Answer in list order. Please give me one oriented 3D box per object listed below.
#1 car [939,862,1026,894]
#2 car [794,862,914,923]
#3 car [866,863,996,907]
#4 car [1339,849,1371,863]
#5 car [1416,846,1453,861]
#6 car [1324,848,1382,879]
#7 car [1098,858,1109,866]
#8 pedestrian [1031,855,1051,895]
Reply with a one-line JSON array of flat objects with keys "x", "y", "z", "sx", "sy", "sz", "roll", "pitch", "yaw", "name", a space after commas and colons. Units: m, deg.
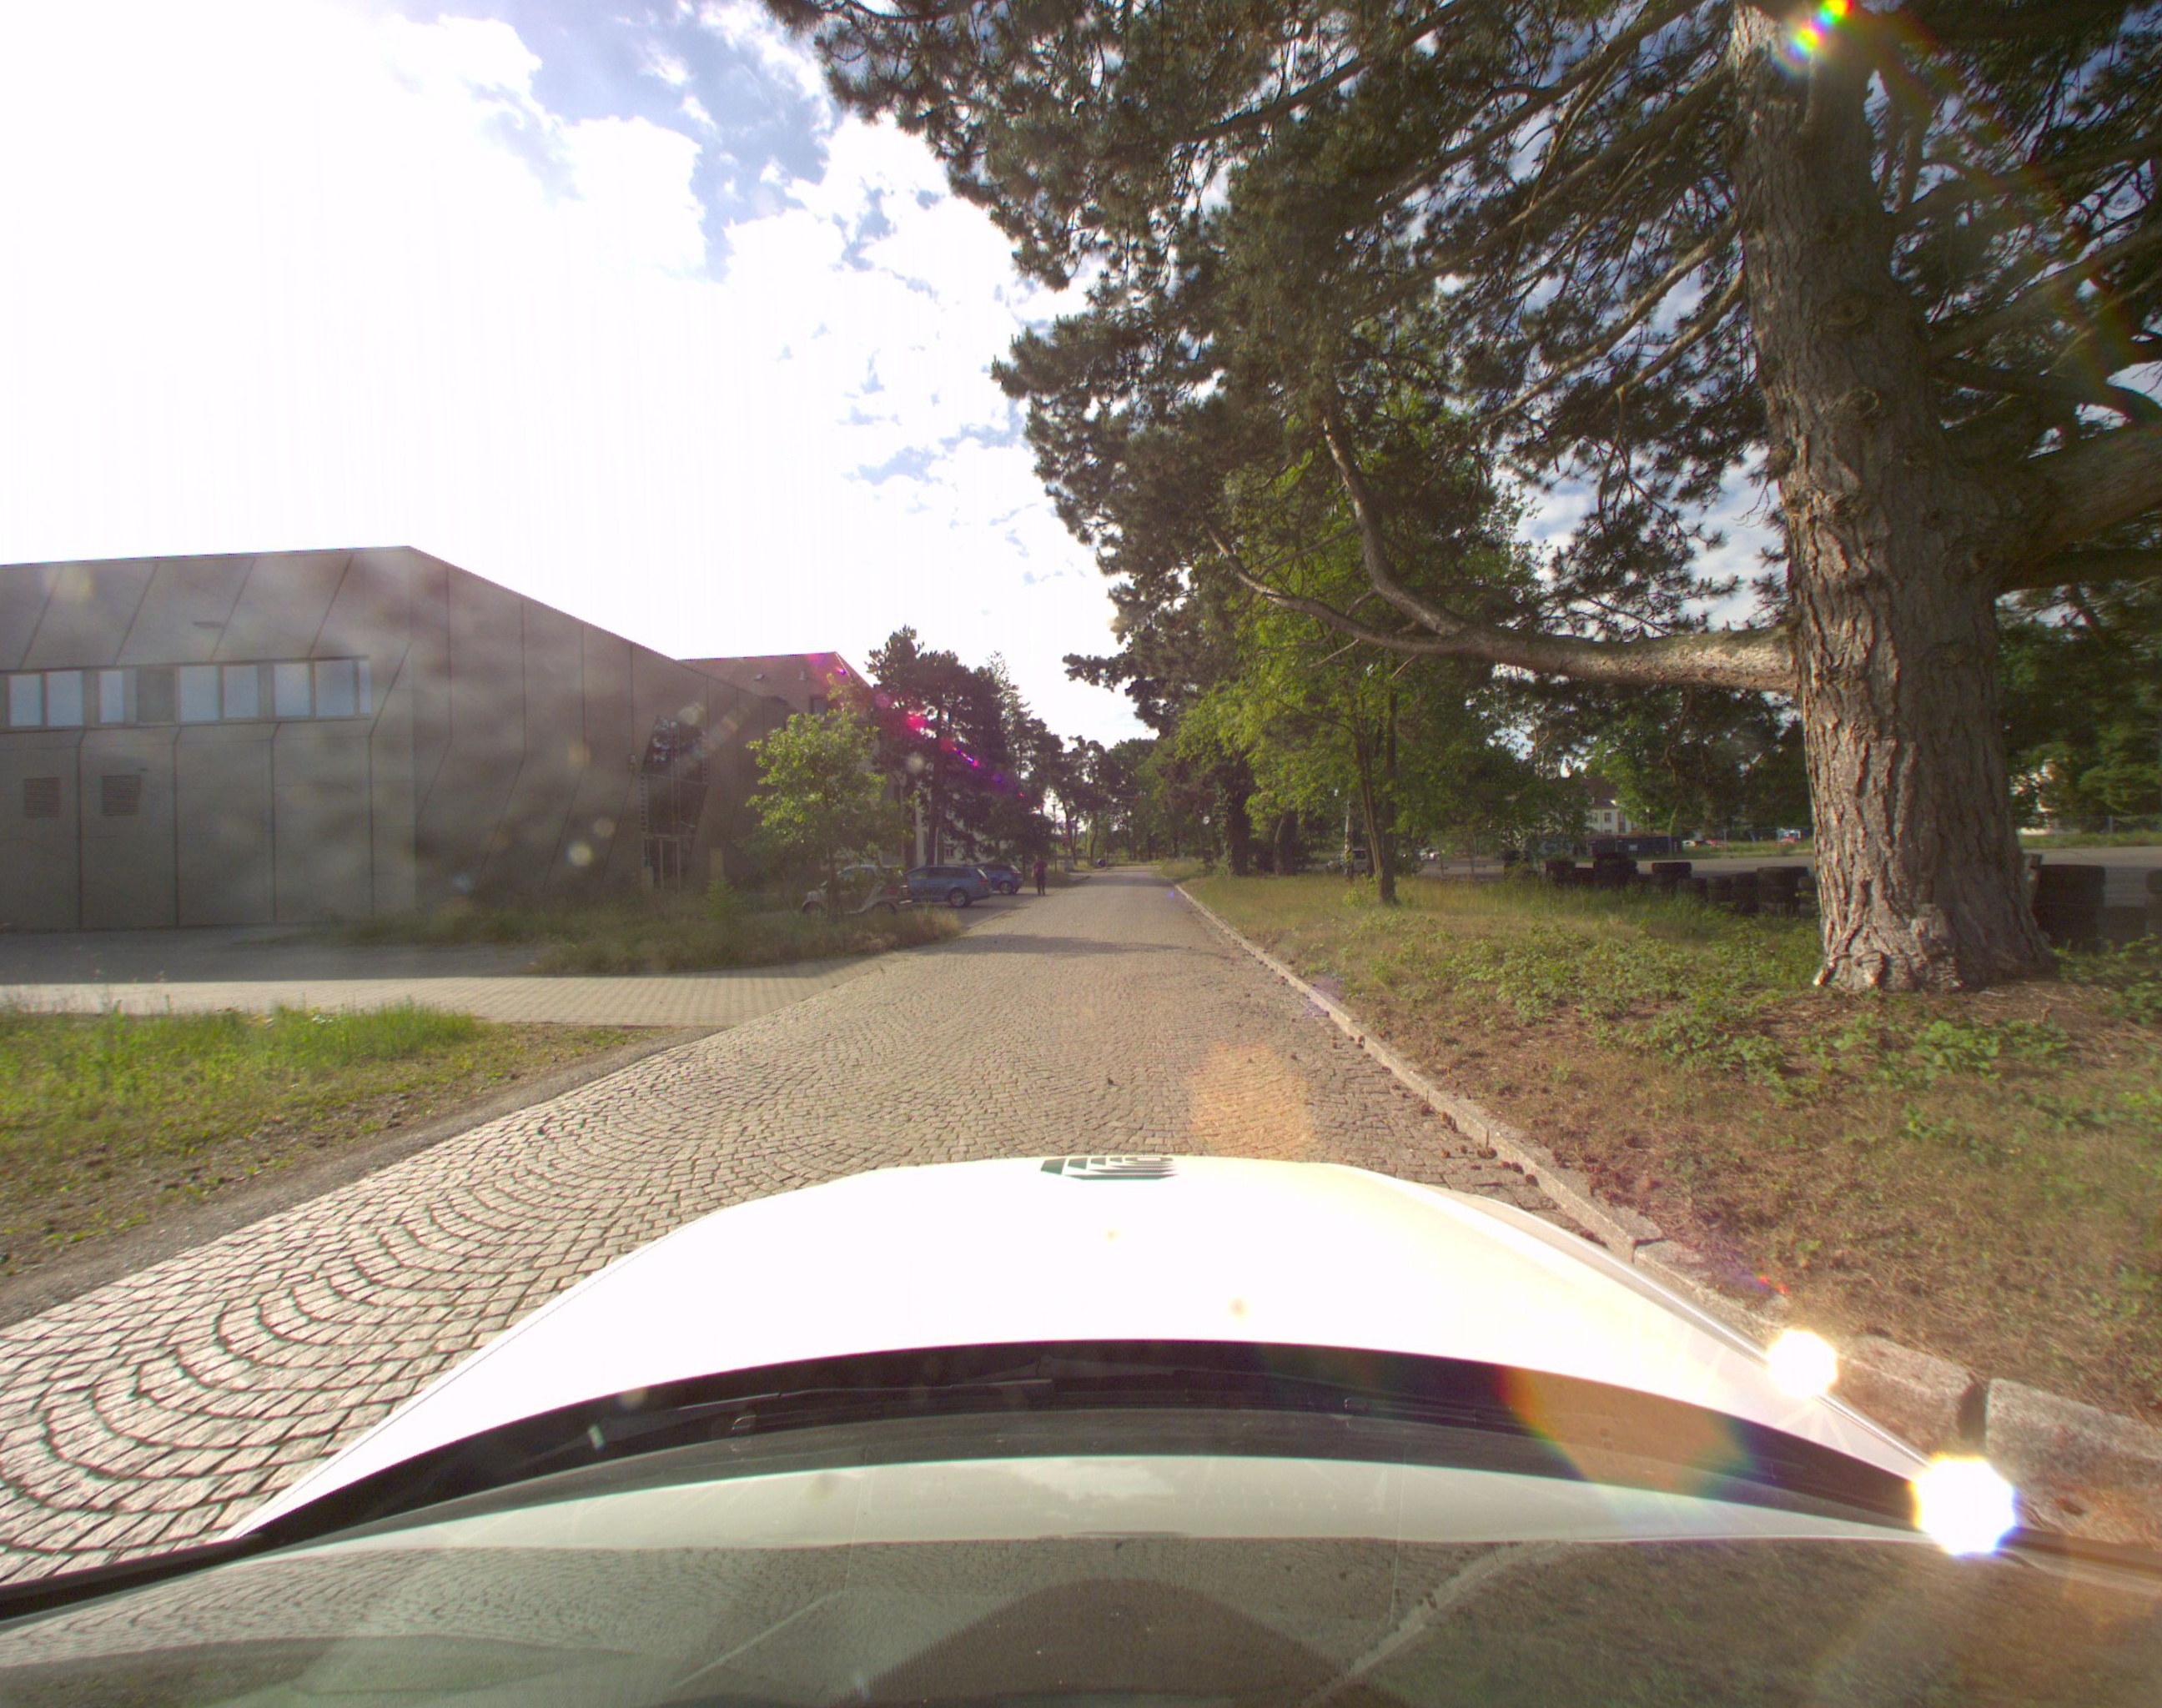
[{"x": -4.617, "y": 1.125, "z": 38.408, "sx": 3.819, "sy": 1.464, "sz": 1.721, "roll": 0, "pitch": -1, "yaw": 3, "name": "car"}, {"x": -5.943, "y": 0.996, "z": 21.529, "sx": 2.687, "sy": 1.542, "sz": 1.520, "roll": 0, "pitch": -1, "yaw": 3, "name": "car"}, {"x": -5.256, "y": 1.084, "z": 28.863, "sx": 4.241, "sy": 1.464, "sz": 1.681, "roll": 0, "pitch": 1, "yaw": 1, "name": "car"}, {"x": 26.594, "y": 0.214, "z": 79.177, "sx": 1.725, "sy": 1.312, "sz": 4.332, "roll": -2, "pitch": 0, "yaw": 1, "name": "car"}, {"x": 34.488, "y": -0.052, "z": 79.611, "sx": 1.725, "sy": 1.312, "sz": 4.332, "roll": -2, "pitch": 0, "yaw": 1, "name": "car"}, {"x": 13.995, "y": 0.476, "z": 42.182, "sx": 1.662, "sy": 1.468, "sz": 4.000, "roll": -2, "pitch": 0, "yaw": 0, "name": "car"}, {"x": 4.017, "y": 1.421, "z": 144.441, "sx": 1.838, "sy": 1.486, "sz": 4.001, "roll": -2, "pitch": 0, "yaw": 2, "name": "car"}, {"x": -1.802, "y": 0.946, "z": 36.981, "sx": 0.801, "sy": 1.771, "sz": 1.153, "roll": -2, "pitch": -1, "yaw": 0, "name": "pedestrian"}]
